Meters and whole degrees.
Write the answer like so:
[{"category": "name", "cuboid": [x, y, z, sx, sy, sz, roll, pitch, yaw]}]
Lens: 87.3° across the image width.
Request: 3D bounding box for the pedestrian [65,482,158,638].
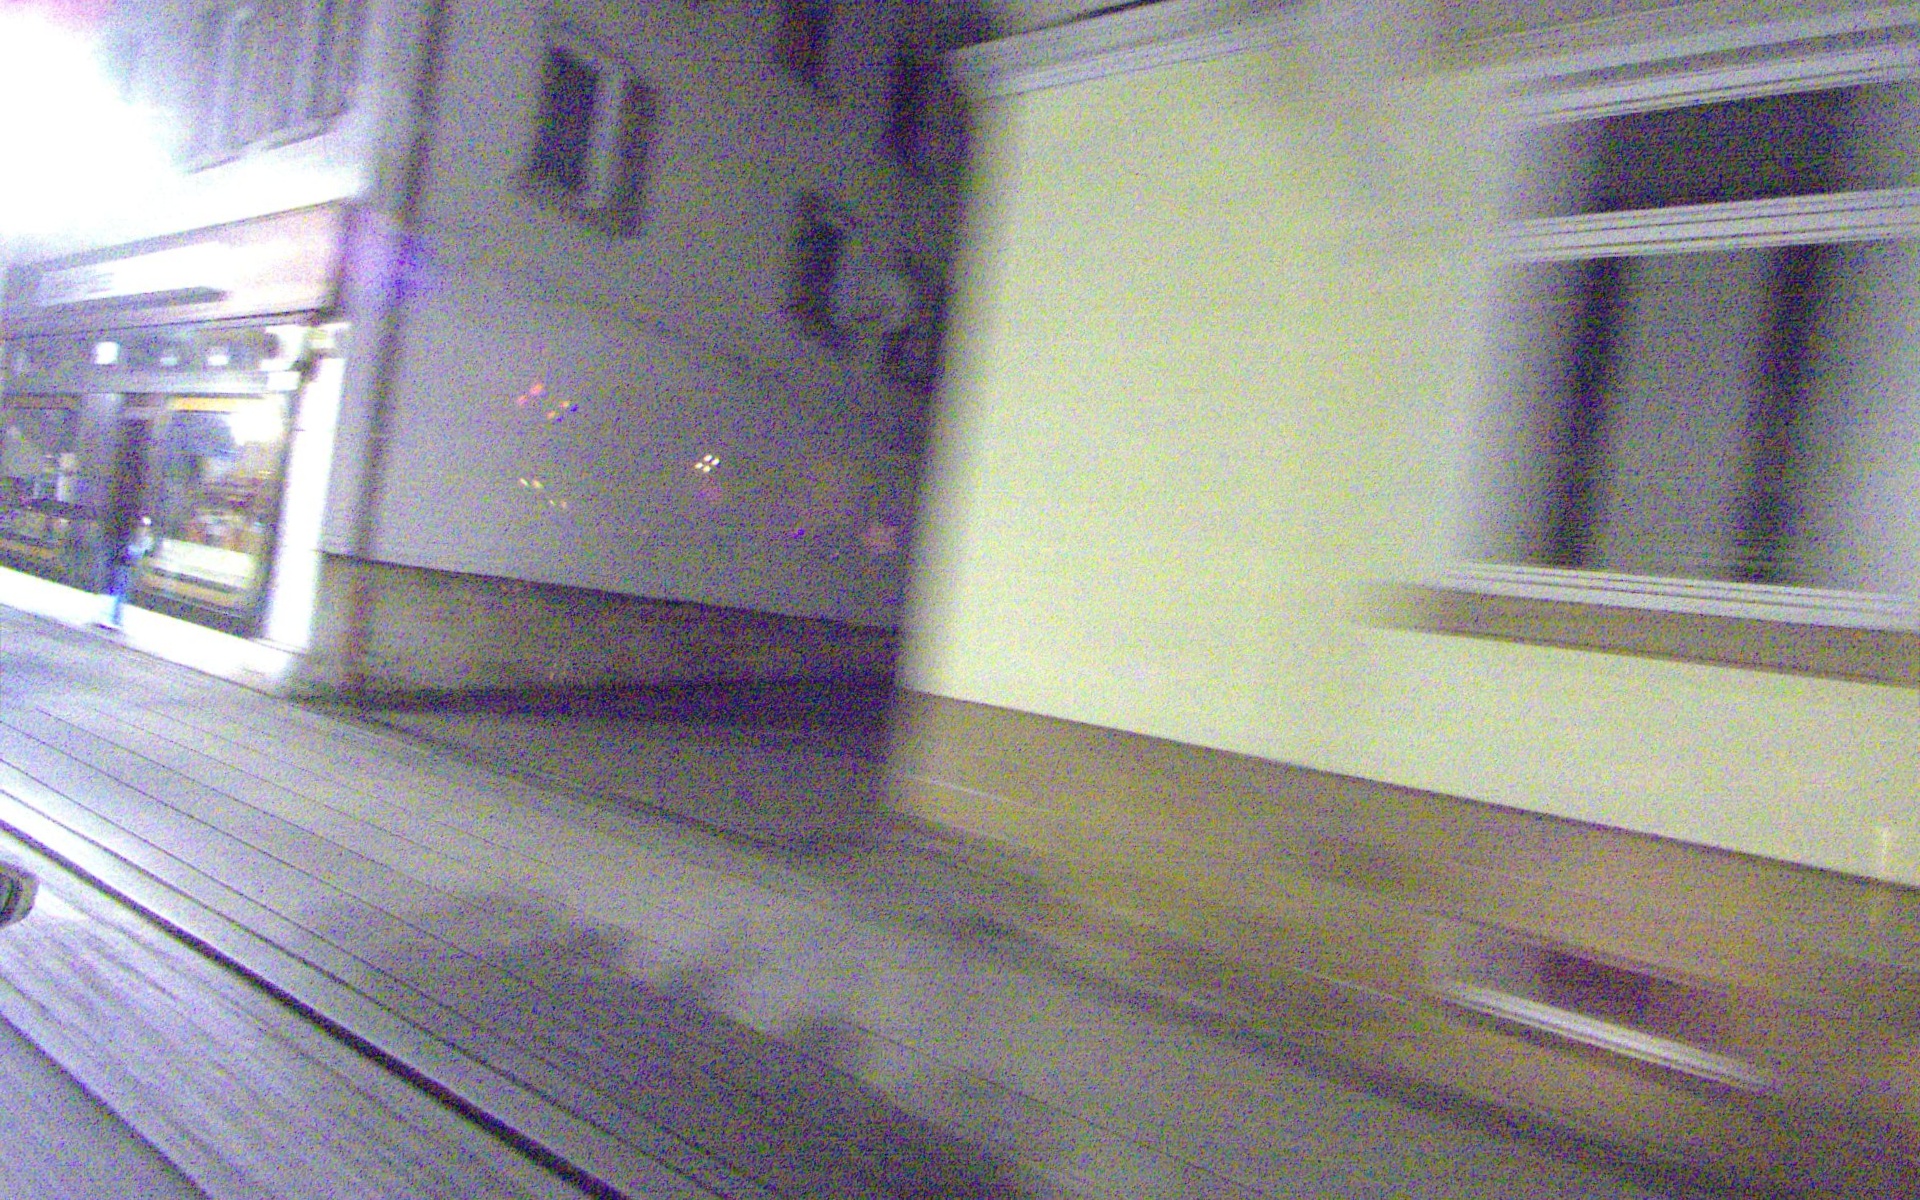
[{"category": "pedestrian", "cuboid": [-9.031, -0.422, 10.714, 0.473, 1.565, 0.501, 7, -2, 38]}]
